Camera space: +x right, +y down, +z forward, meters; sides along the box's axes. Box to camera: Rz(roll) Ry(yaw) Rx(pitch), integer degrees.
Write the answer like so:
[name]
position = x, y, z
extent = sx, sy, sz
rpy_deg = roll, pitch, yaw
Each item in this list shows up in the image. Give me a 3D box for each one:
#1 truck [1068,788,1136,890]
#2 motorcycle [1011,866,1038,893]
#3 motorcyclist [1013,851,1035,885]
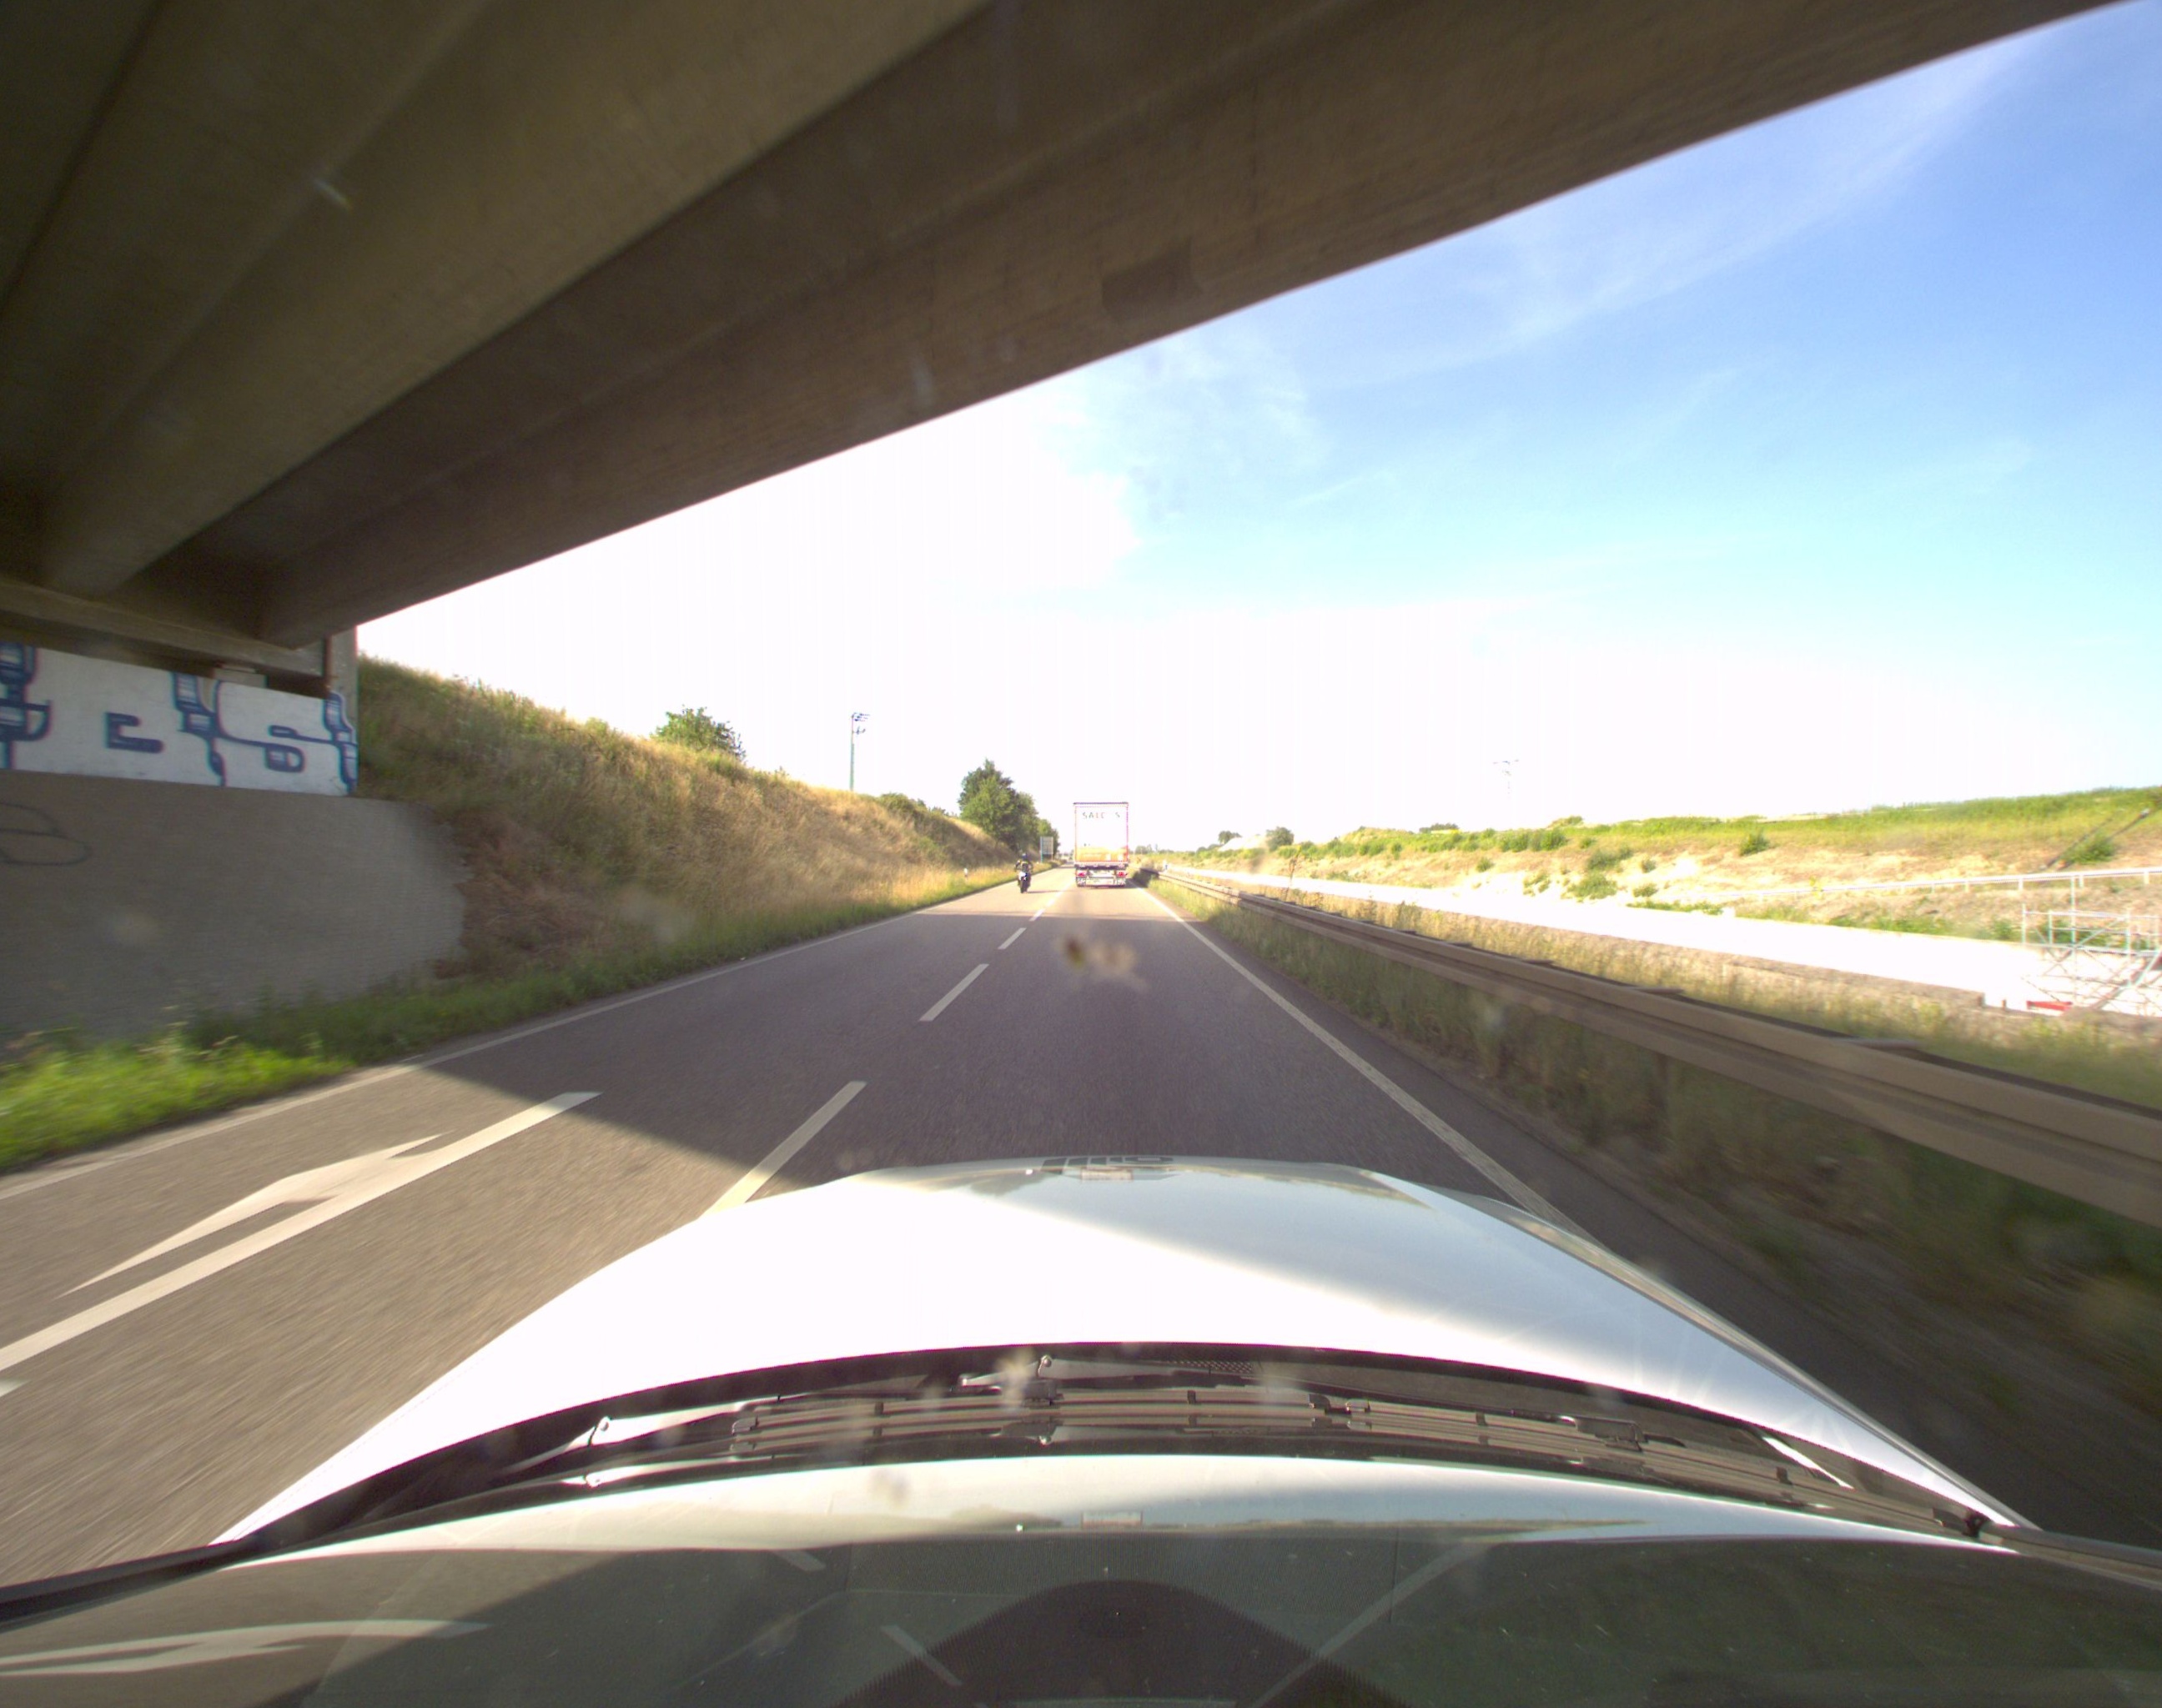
[truck]
position = 0.940, -0.668, 41.952
extent = 3.143, 4.688, 8.438
rpy_deg = 0, -1, -1
[motorcycle]
position = -2.473, 1.121, 35.732
extent = 1.038, 1.117, 2.131
rpy_deg = -1, -1, -1
[motorcyclist]
position = -2.509, 0.606, 35.762
extent = 0.877, 1.451, 1.283
rpy_deg = -1, -1, -1
